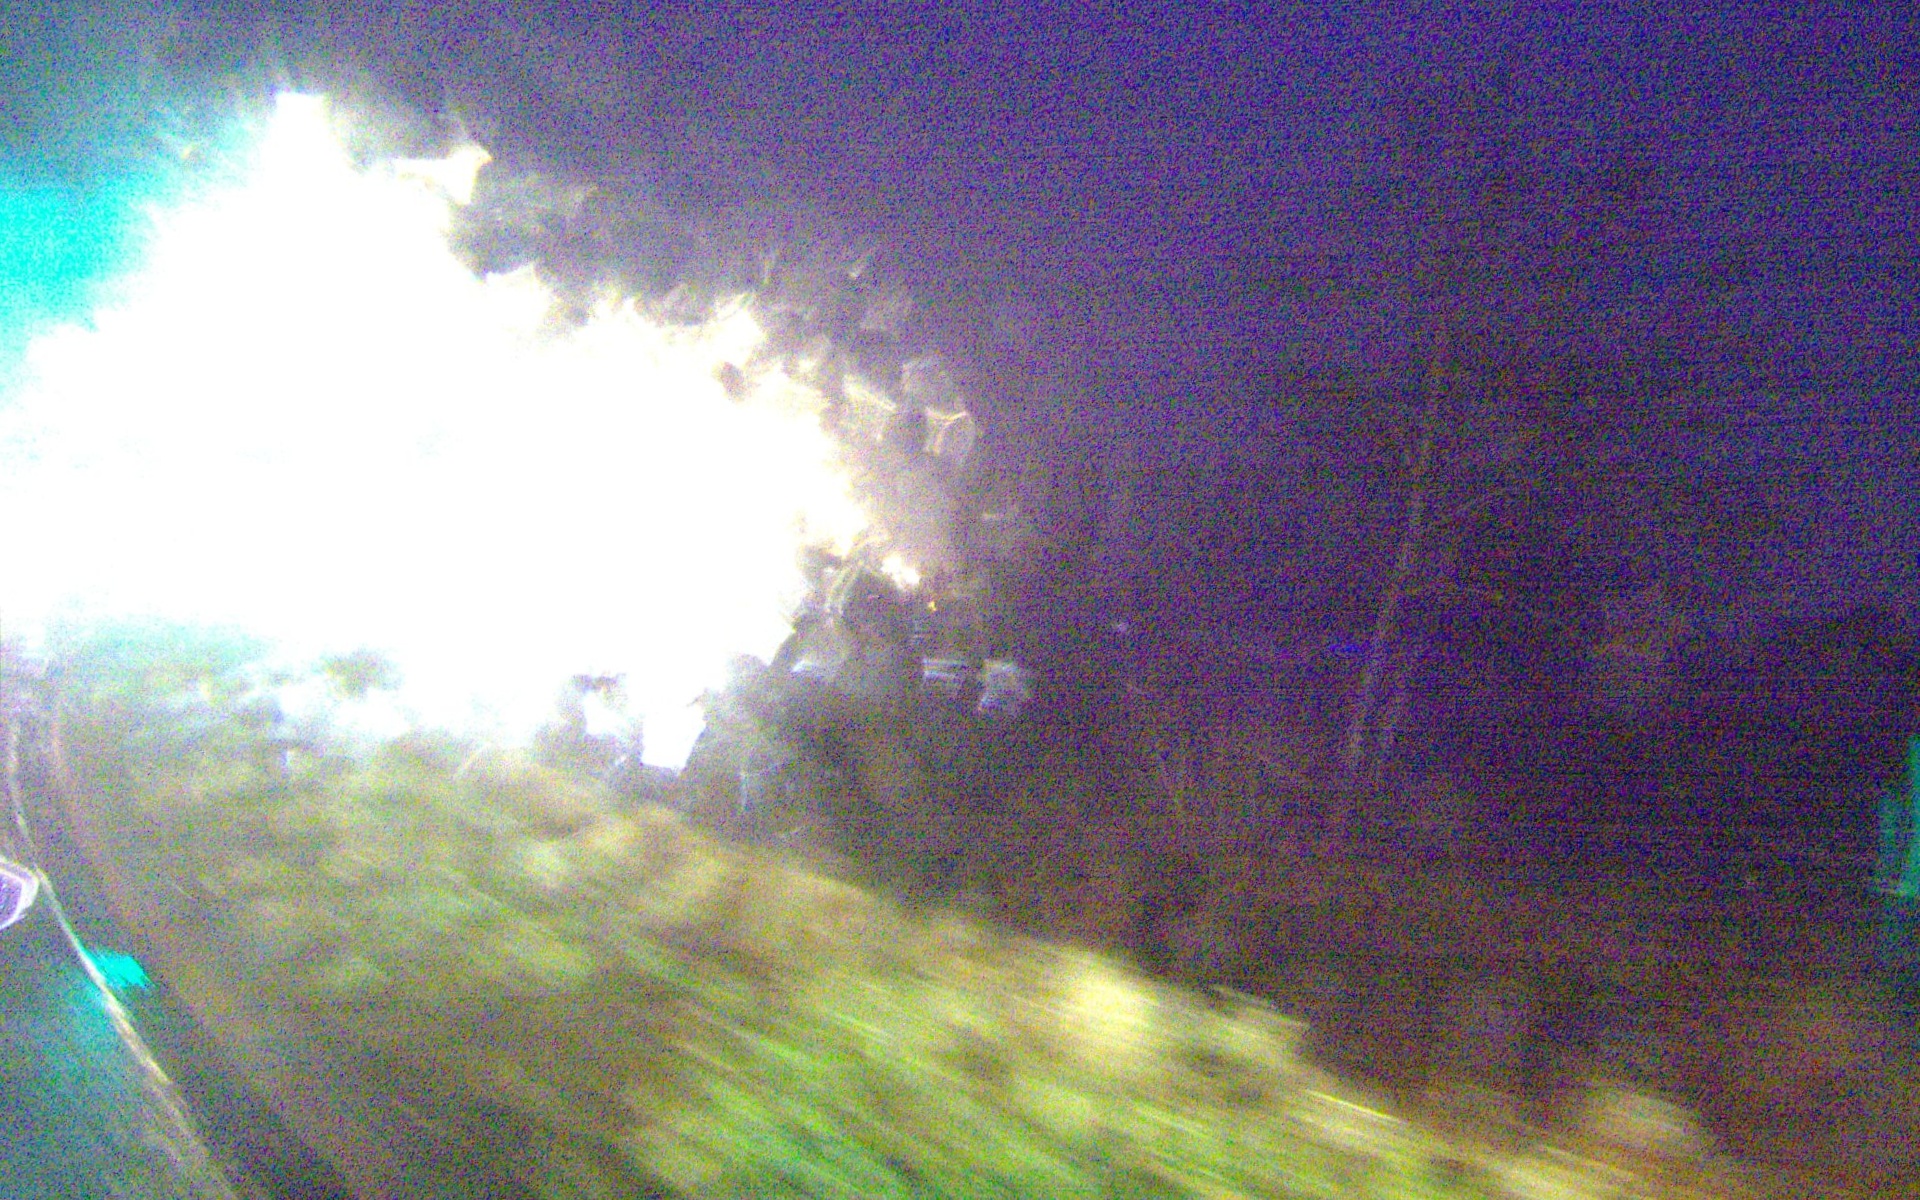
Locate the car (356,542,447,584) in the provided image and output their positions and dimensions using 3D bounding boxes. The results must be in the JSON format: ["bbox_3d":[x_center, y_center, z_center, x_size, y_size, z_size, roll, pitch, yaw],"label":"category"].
[{"bbox_3d":[-26.358,-1.698,47.672,1.784,1.597,4.306,5,-1,0],"label":"car"}]

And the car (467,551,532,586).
[{"bbox_3d":[-29.087,-1.945,63.701,1.771,1.684,4.492,7,-2,1],"label":"car"}]

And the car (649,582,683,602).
[{"bbox_3d":[-28.429,-0.753,97.434,1.854,1.548,4.435,7,-3,0],"label":"car"}]

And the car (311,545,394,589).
[{"bbox_3d":[-32.630,-1.743,54.162,1.795,1.870,4.004,6,-2,2],"label":"car"}]

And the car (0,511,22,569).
[{"bbox_3d":[-29.871,-1.981,28.968,1.770,1.685,3.980,6,-2,1],"label":"car"}]

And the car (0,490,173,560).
[{"bbox_3d":[-26.162,-2.194,29.951,1.749,1.502,4.413,8,0,2],"label":"car"}]
